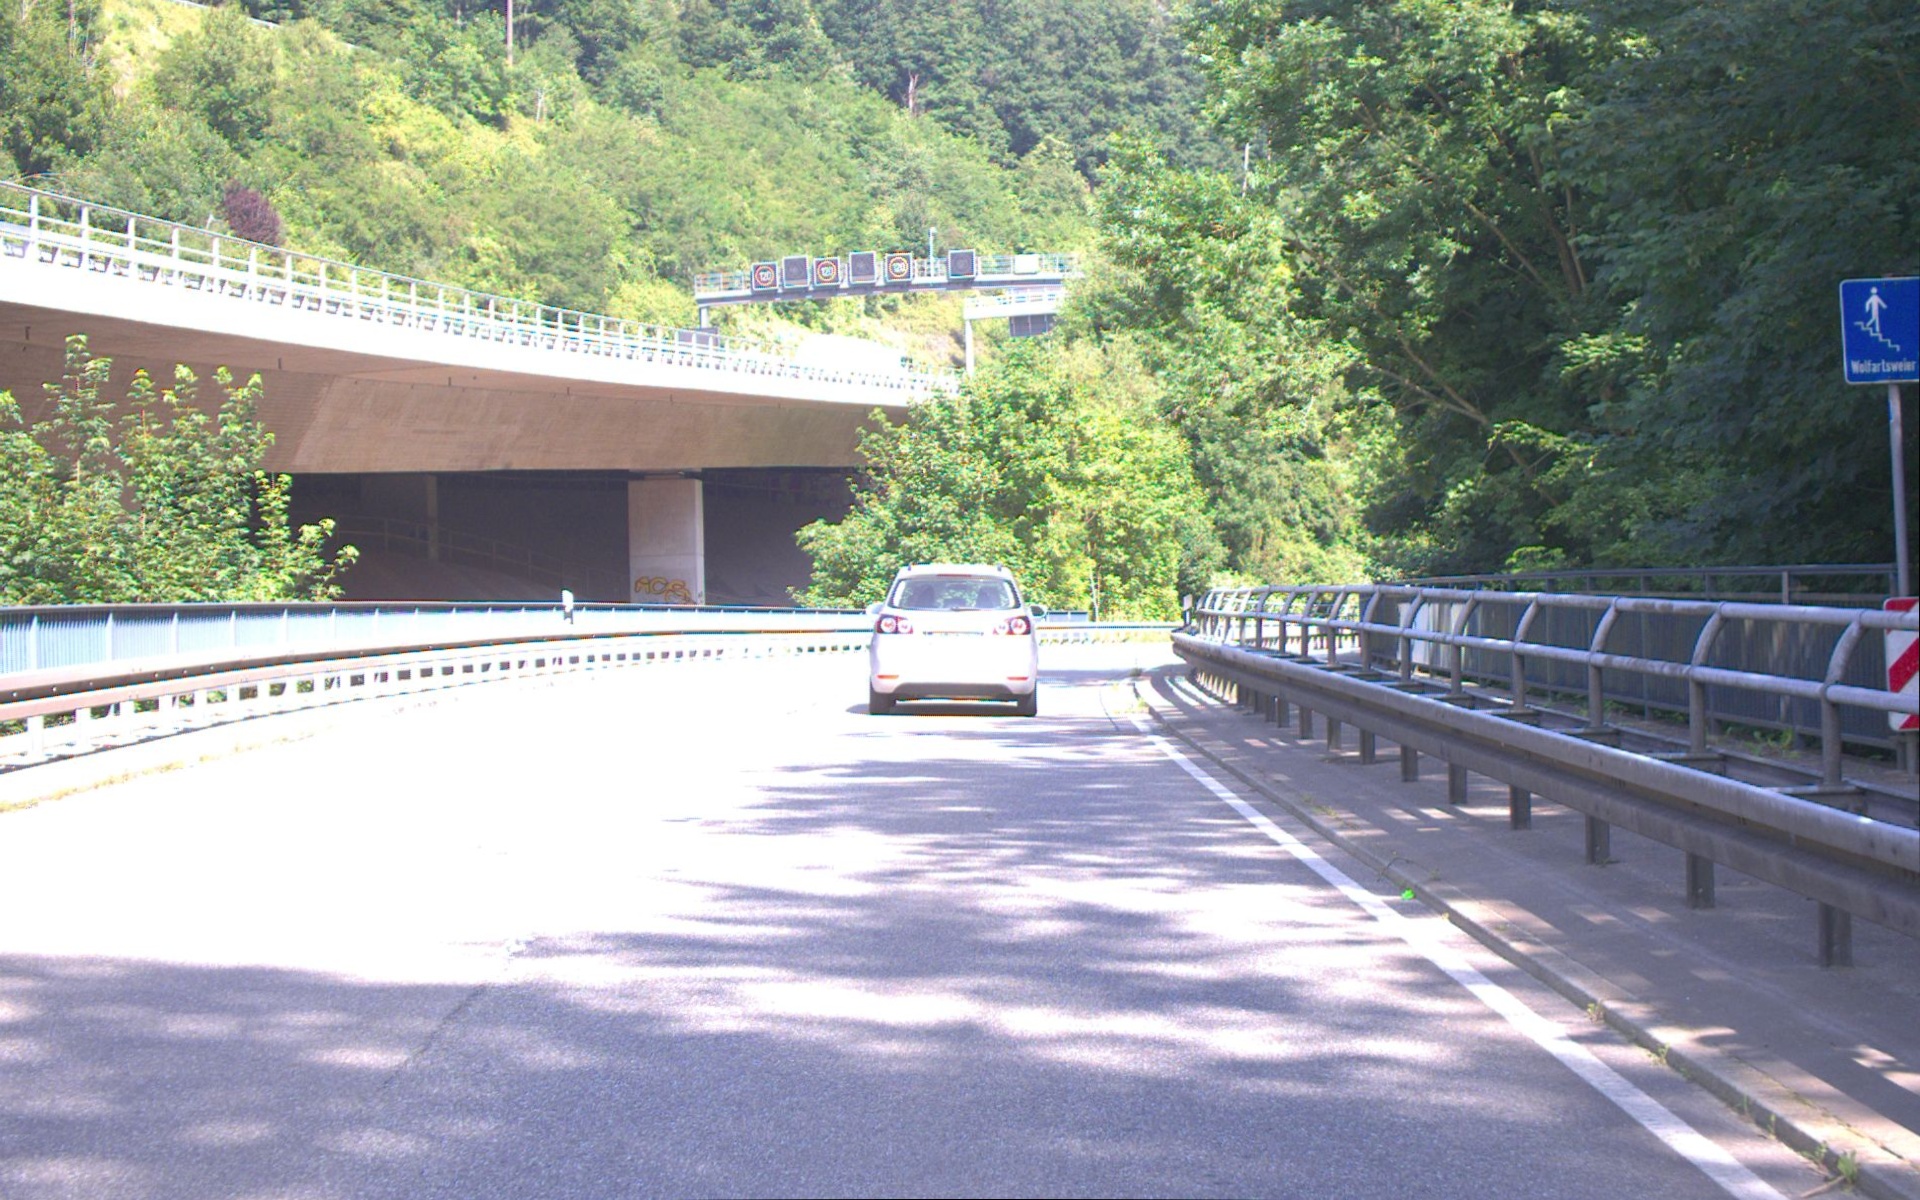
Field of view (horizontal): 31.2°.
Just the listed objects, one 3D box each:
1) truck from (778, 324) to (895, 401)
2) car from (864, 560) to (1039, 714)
[{"bbox_3d":[-5.999,-11.649,169.504,3.372,3.343,10.171,1,2,12],"label":"truck"},{"bbox_3d":[-0.074,0.348,36.496,1.751,1.514,4.159,0,1,0],"label":"car"}]
